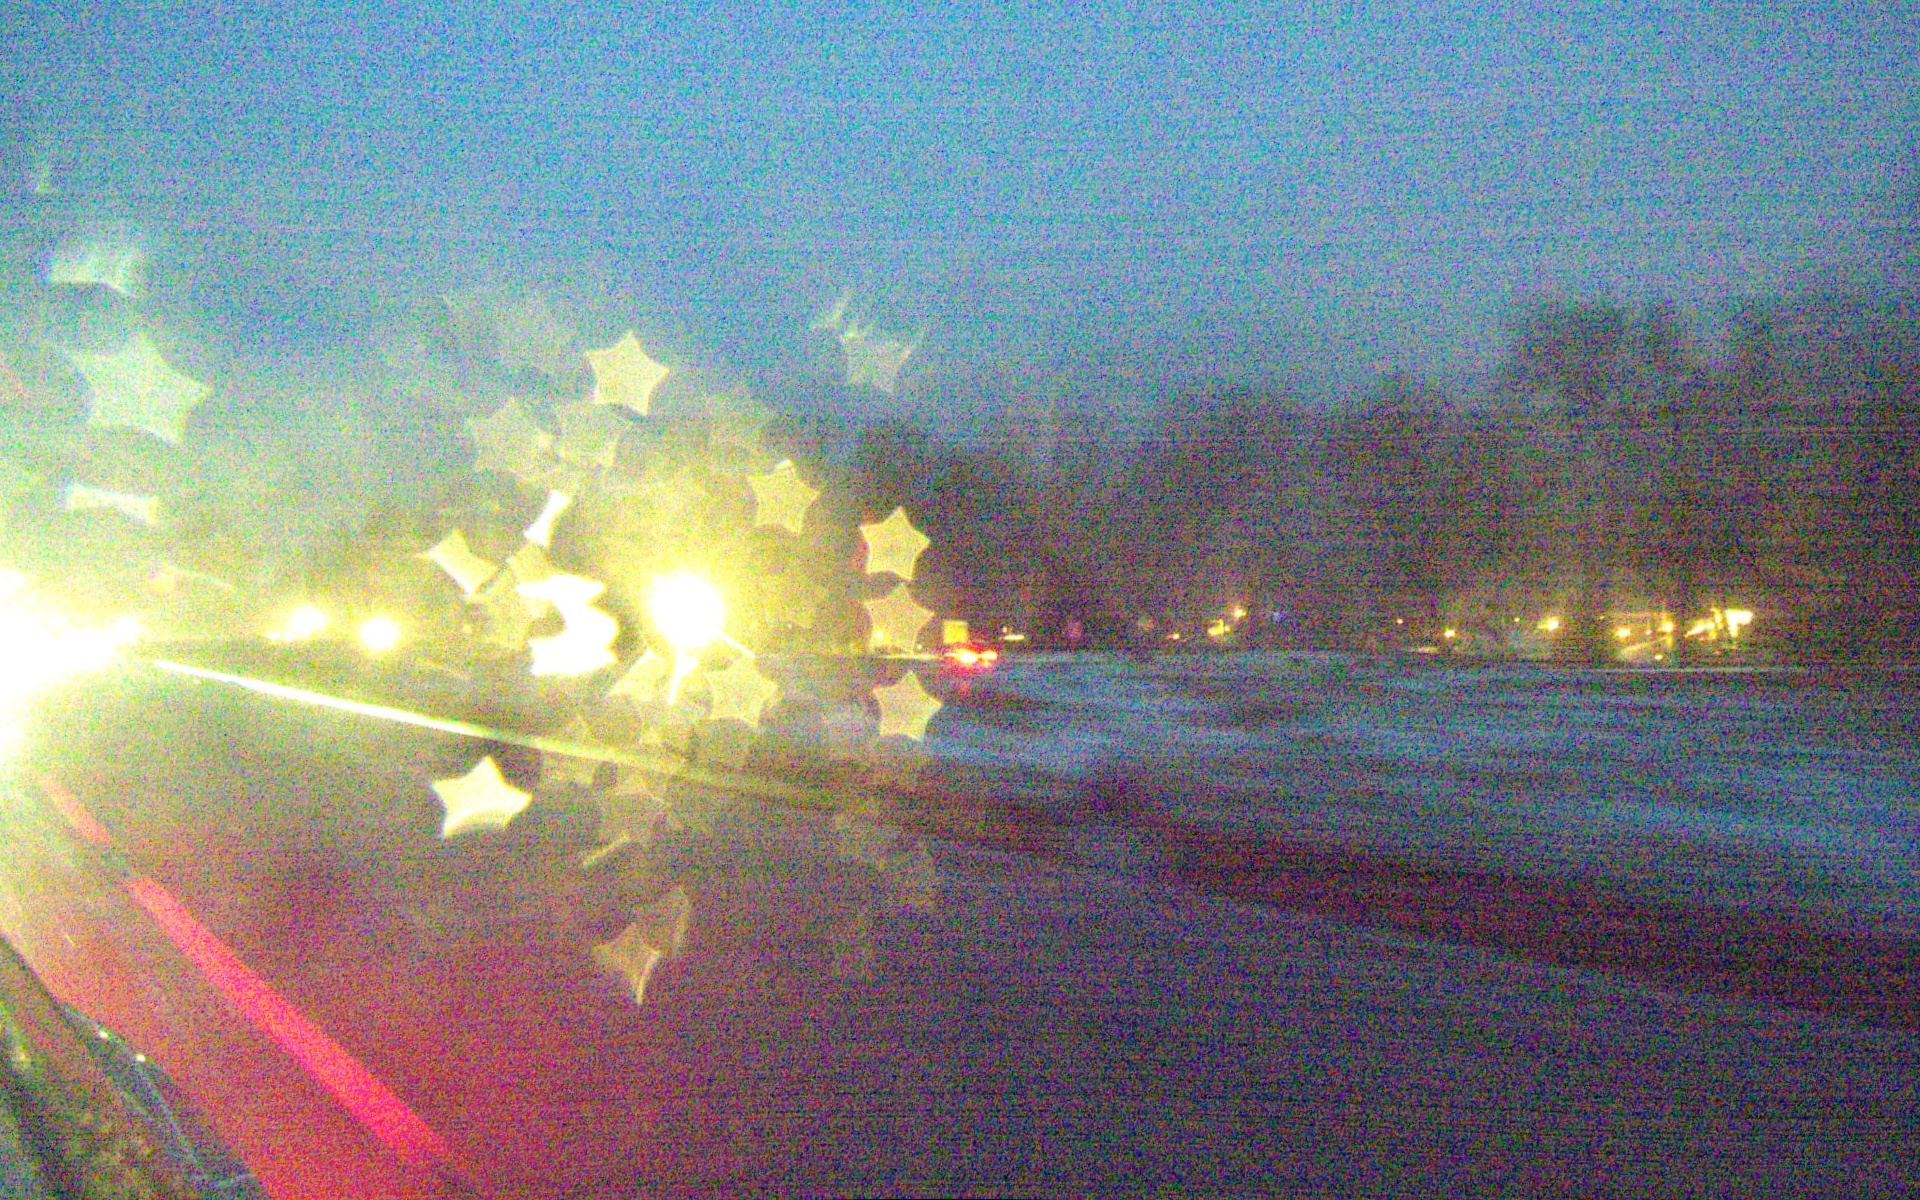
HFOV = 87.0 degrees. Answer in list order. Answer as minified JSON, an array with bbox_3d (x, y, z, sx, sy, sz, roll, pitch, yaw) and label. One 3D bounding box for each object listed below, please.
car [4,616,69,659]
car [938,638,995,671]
[{"bbox_3d":[-37.275,1.474,40.825,4.002,1.554,1.715,-1,1,45],"label":"car"},{"bbox_3d":[0.316,2.980,55.909,1.632,1.532,3.460,-2,1,-29],"label":"car"}]
